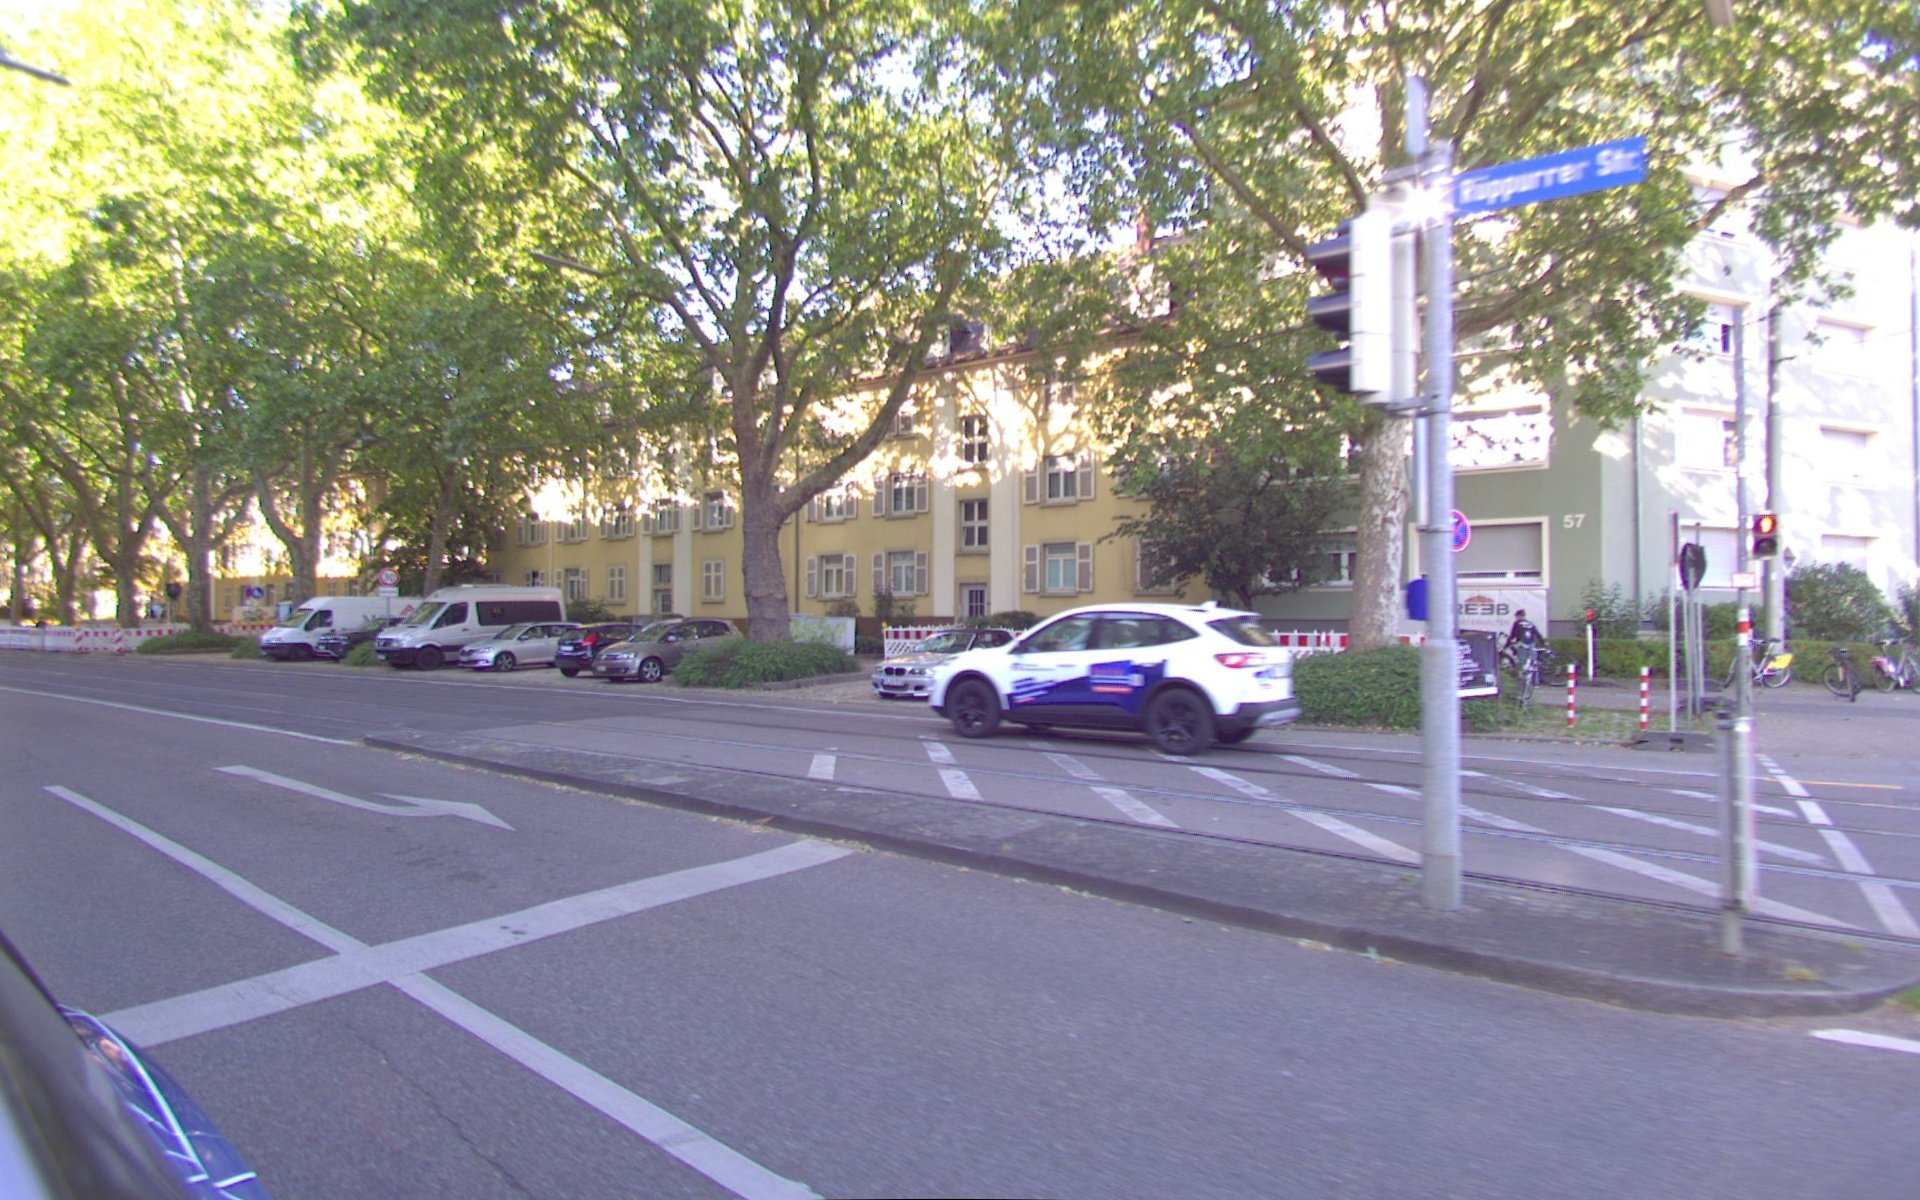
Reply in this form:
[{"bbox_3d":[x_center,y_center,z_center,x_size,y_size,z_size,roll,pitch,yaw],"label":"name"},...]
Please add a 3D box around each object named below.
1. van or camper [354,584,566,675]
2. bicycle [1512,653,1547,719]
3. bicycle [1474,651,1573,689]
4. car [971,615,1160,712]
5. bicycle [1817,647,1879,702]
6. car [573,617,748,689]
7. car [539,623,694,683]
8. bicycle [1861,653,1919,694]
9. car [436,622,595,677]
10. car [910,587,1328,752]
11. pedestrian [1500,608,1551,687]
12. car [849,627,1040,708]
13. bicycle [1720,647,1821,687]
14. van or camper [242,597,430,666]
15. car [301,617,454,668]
[{"bbox_3d":[-15.997,0.867,32.739,2.152,2.668,5.862,0,0,37],"label":"van or camper"},{"bbox_3d":[8.571,1.268,15.257,0.356,0.895,1.559,-1,-2,26],"label":"bicycle"},{"bbox_3d":[11.761,1.456,21.140,1.761,0.765,0.357,0,-2,11],"label":"bicycle"},{"bbox_3d":[2.158,1.135,19.758,1.842,1.624,4.031,0,0,38],"label":"car"},{"bbox_3d":[15.739,1.302,17.969,0.356,0.895,1.764,-1,-2,26],"label":"bicycle"},{"bbox_3d":[-7.621,1.284,26.079,1.842,1.631,4.031,0,0,38],"label":"car"},{"bbox_3d":[-9.475,1.411,28.123,1.691,1.457,3.815,0,0,38],"label":"car"},{"bbox_3d":[18.333,1.424,19.742,1.749,0.765,0.359,0,-2,-21],"label":"bicycle"},{"bbox_3d":[-13.658,1.471,31.304,1.691,1.457,4.225,0,0,38],"label":"car"},{"bbox_3d":[1.810,0.751,12.247,4.620,1.644,1.976,-1,-2,35],"label":"car"},{"bbox_3d":[11.554,0.956,20.694,0.735,1.580,0.600,0,-2,11],"label":"pedestrian"},{"bbox_3d":[-0.228,1.310,20.909,1.842,1.379,4.031,0,0,38],"label":"car"},{"bbox_3d":[15.998,1.314,19.987,1.754,0.765,0.358,0,-1,-3],"label":"bicycle"},{"bbox_3d":[-23.477,1.105,38.323,2.152,2.403,5.696,0,0,37],"label":"van or camper"},{"bbox_3d":[-20.908,1.463,36.479,1.691,1.645,4.485,0,0,38],"label":"car"}]
